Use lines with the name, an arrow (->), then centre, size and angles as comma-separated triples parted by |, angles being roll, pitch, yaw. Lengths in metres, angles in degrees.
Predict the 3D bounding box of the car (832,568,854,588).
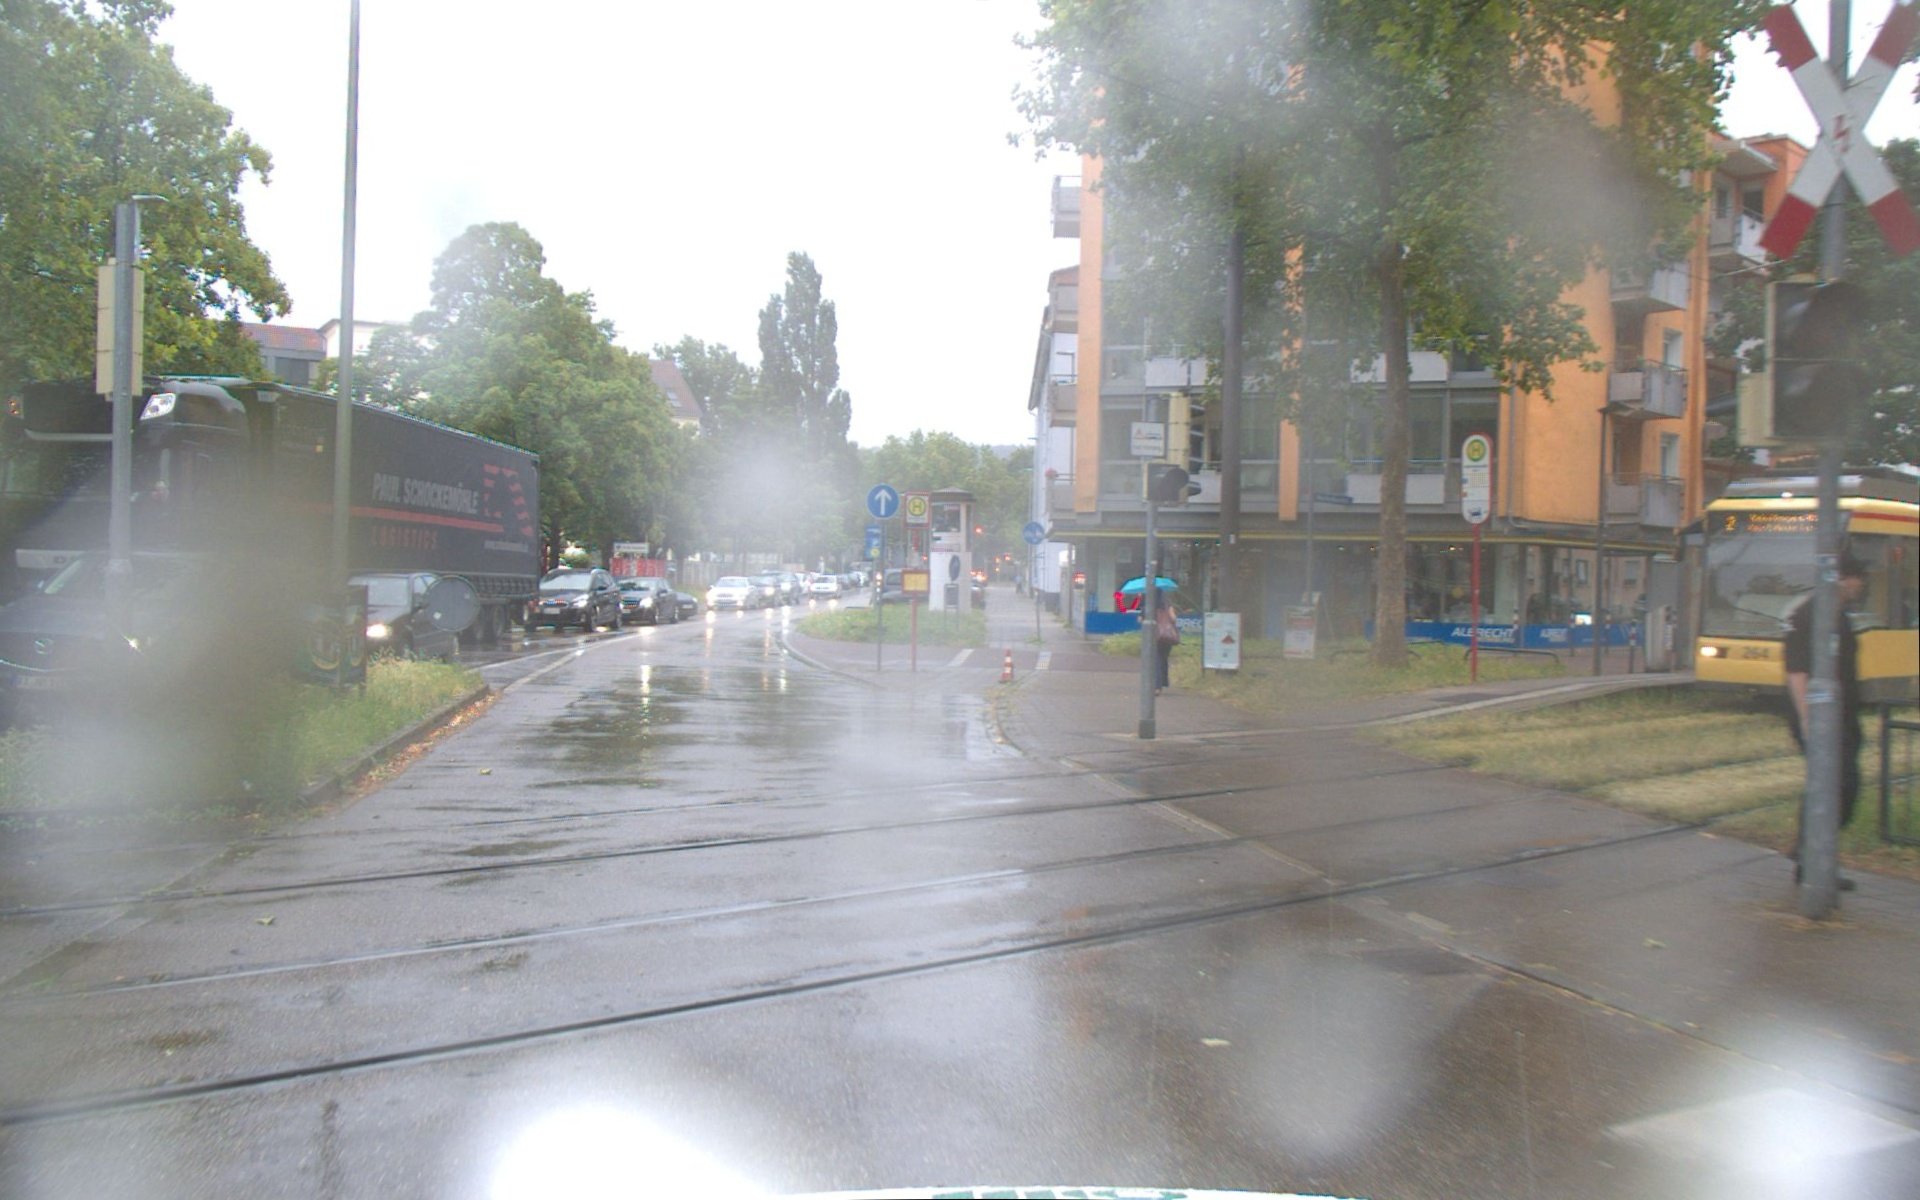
car -> -10.051, -1.913, 142.202 | 1.741, 1.556, 3.997 | 2, 2, -6

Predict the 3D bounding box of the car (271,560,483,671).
car -> -8.173, 0.152, 23.567 | 1.664, 1.397, 4.099 | 1, 2, -2

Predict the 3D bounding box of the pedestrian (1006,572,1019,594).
pedestrian -> 4.349, -1.400, 136.757 | 1.041, 1.842, 1.094 | 1, 1, 0

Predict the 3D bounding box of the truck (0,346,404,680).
truck -> -11.182, -1.187, 24.379 | 3.379, 4.149, 6.976 | 2, 1, 1

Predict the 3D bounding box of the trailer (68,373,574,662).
trailer -> -10.977, -1.351, 31.376 | 3.371, 4.119, 15.055 | 1, 1, 2

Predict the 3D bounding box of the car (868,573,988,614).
car -> -1.172, -0.256, 62.791 | 4.439, 1.496, 1.984 | 1, 0, 1

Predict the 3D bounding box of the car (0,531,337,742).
car -> -8.187, 0.224, 16.881 | 2.033, 1.711, 4.927 | 4, 2, -4

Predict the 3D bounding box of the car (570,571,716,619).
car -> -10.816, -0.193, 56.279 | 4.826, 1.479, 2.080 | 2, 1, 34

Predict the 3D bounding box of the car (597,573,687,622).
car -> -9.577, -0.112, 50.110 | 1.690, 1.384, 4.340 | 0, 1, 3

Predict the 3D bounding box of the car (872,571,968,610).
car -> -1.721, -0.433, 71.803 | 4.104, 1.595, 1.889 | 1, 1, -1

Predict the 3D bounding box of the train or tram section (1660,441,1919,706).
train or tram section -> 13.771, -0.361, 25.274 | 8.312, 3.428, 2.603 | 1, 1, -44

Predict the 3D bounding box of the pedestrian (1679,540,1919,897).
pedestrian -> 4.878, 0.595, 9.195 | 1.020, 1.819, 1.228 | 1, 1, -22

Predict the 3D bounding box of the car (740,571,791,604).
car -> -9.125, -0.619, 77.855 | 1.742, 1.445, 4.266 | 1, 1, 1

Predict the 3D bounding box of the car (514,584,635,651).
car -> -10.057, 0.467, 43.515 | 1.828, 1.648, 4.803 | 1, -1, 2

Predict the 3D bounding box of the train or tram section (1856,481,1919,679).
train or tram section -> 19.650, -0.311, 31.156 | 2.602, 3.409, 8.316 | 3, 1, 45

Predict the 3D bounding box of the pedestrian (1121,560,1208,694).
pedestrian -> 3.008, 0.378, 24.506 | 1.146, 1.897, 1.386 | 1, 1, 3

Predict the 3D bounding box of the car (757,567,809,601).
car -> -9.007, -0.818, 84.698 | 1.874, 1.668, 4.823 | 2, 1, 3

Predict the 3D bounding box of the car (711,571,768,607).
car -> -9.360, -0.484, 70.561 | 1.738, 1.428, 4.830 | 2, 1, 0
